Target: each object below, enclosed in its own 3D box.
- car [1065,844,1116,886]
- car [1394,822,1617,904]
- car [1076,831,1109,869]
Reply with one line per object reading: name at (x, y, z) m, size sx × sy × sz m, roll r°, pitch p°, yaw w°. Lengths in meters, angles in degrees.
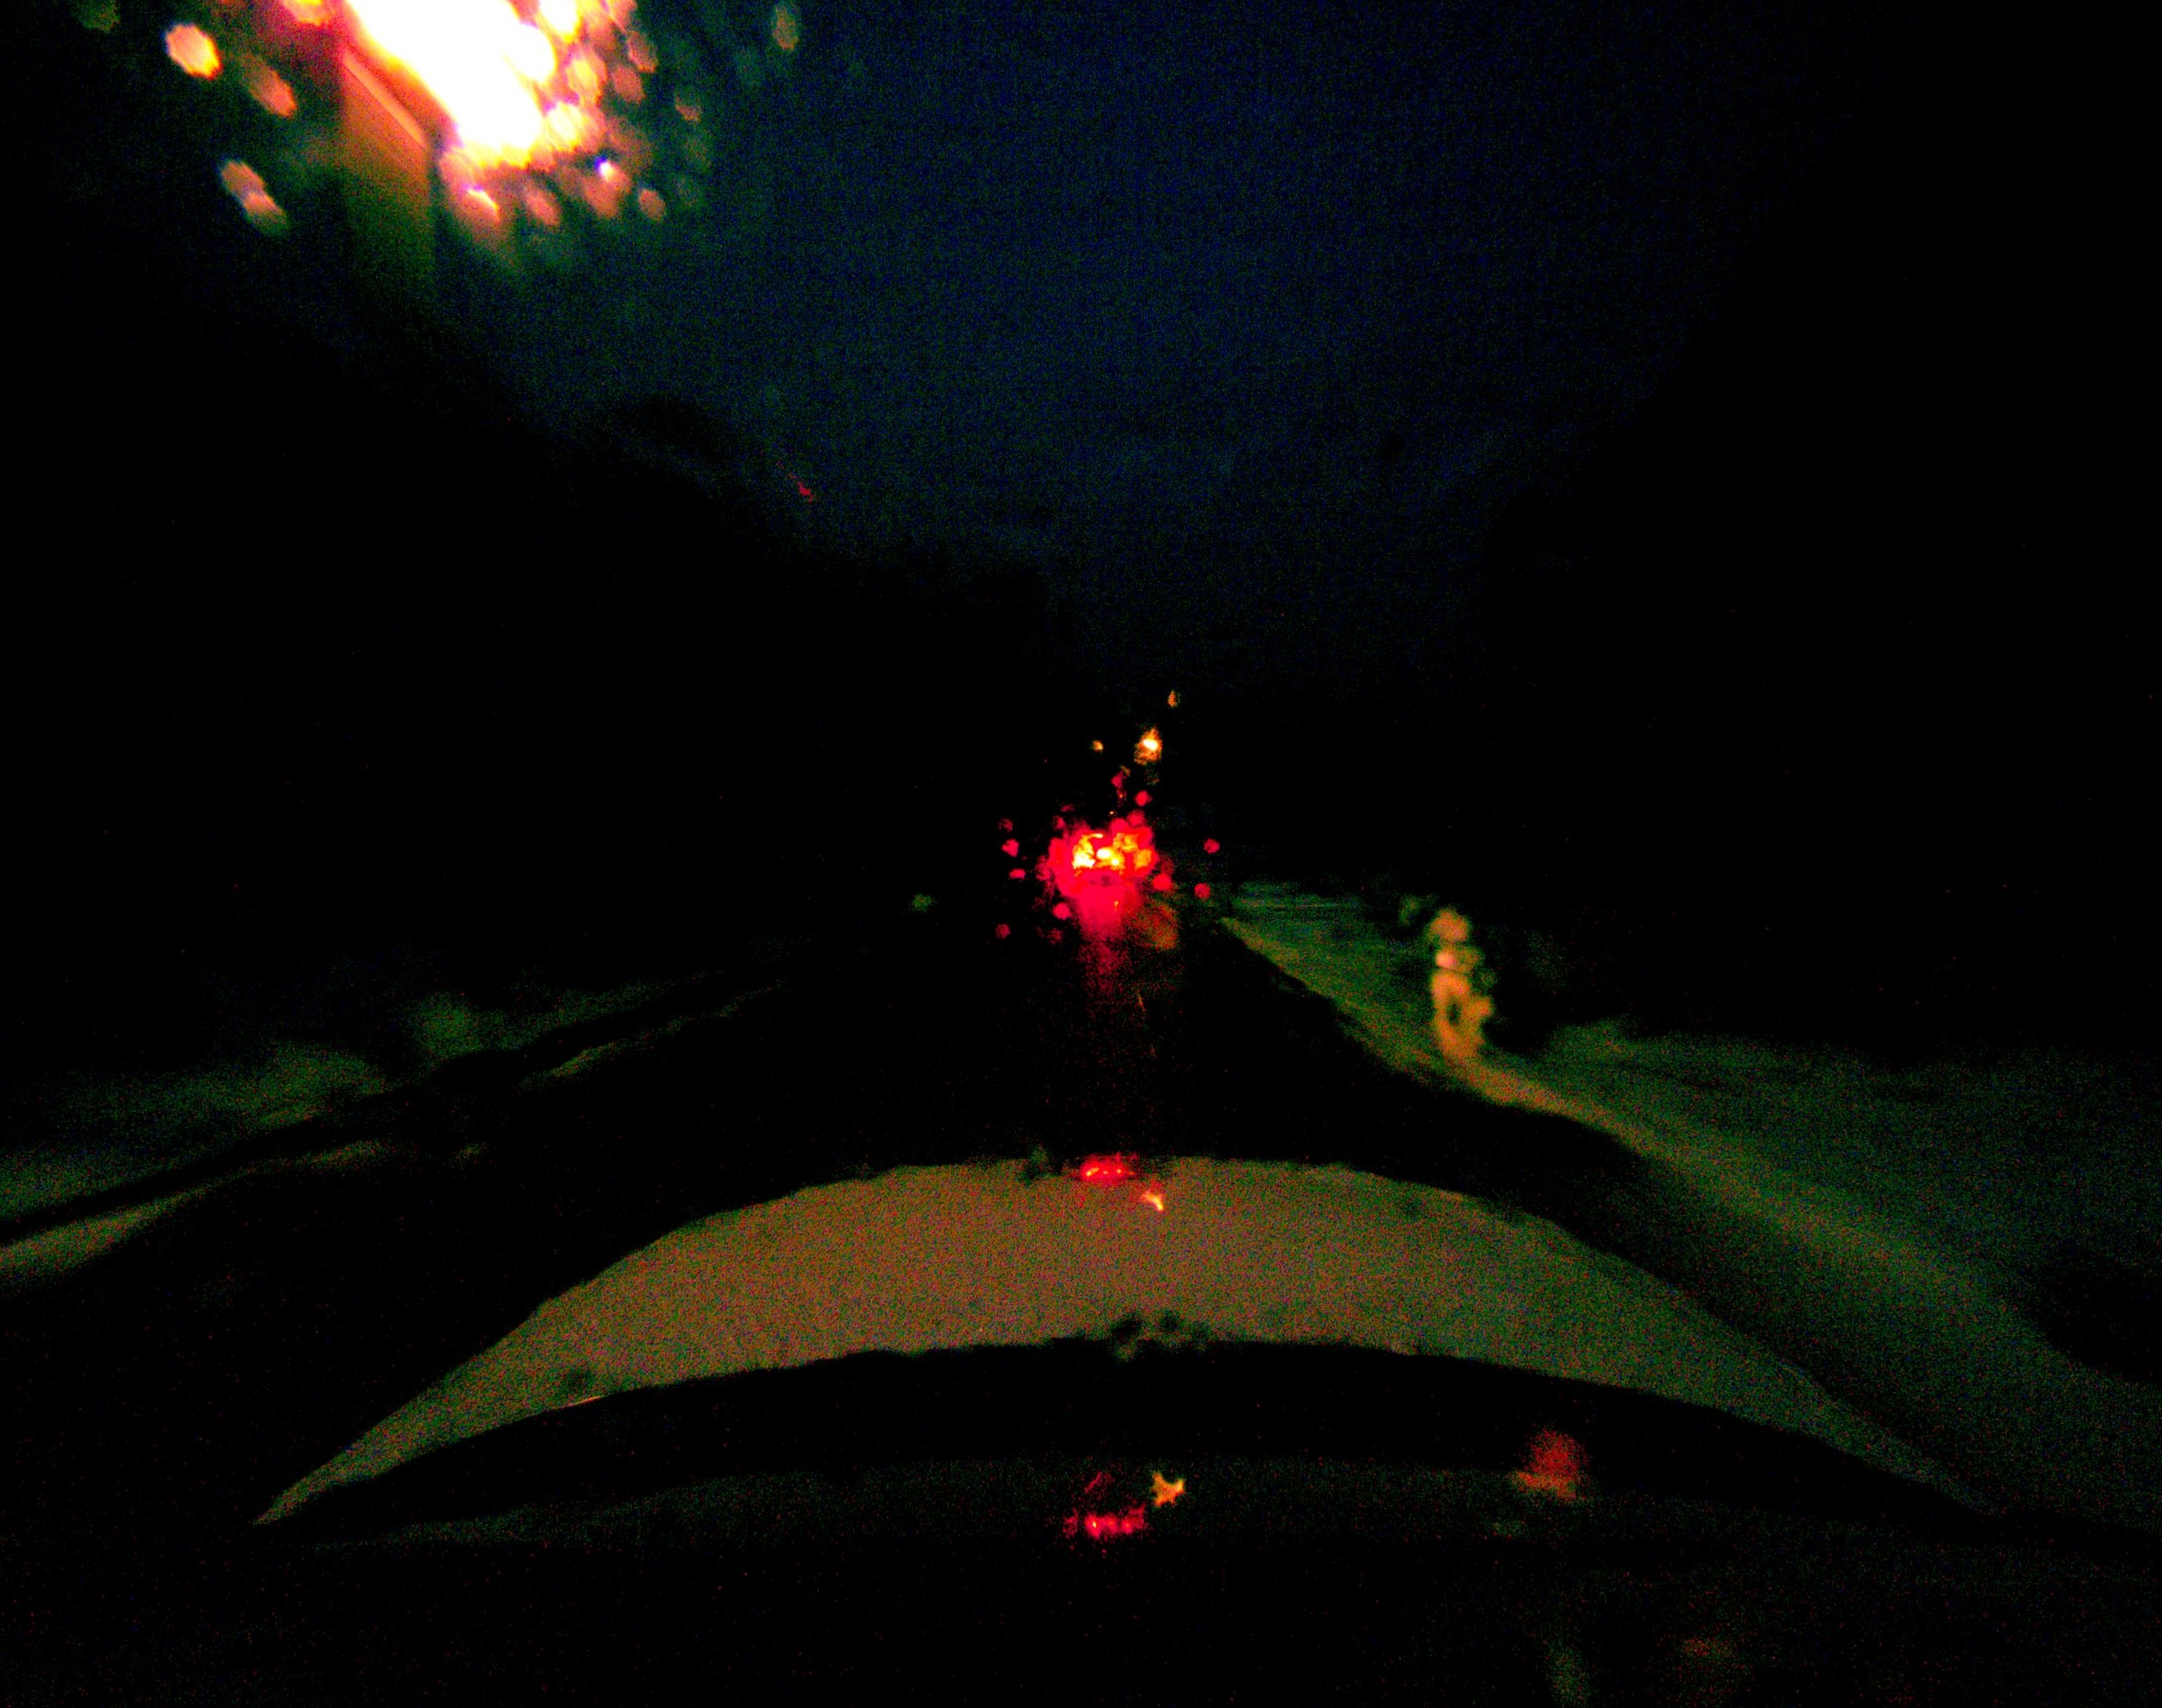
car at (0.486, 0.496, 39.149) m, size 2.266 × 1.840 × 5.008 m, roll -2°, pitch 0°, yaw 1°
car at (10.081, 0.198, 19.679) m, size 4.370 × 1.657 × 1.867 m, roll -3°, pitch 1°, yaw 8°
car at (1.025, -0.273, 68.973) m, size 2.425 × 3.019 × 5.329 m, roll -2°, pitch -1°, yaw 3°
